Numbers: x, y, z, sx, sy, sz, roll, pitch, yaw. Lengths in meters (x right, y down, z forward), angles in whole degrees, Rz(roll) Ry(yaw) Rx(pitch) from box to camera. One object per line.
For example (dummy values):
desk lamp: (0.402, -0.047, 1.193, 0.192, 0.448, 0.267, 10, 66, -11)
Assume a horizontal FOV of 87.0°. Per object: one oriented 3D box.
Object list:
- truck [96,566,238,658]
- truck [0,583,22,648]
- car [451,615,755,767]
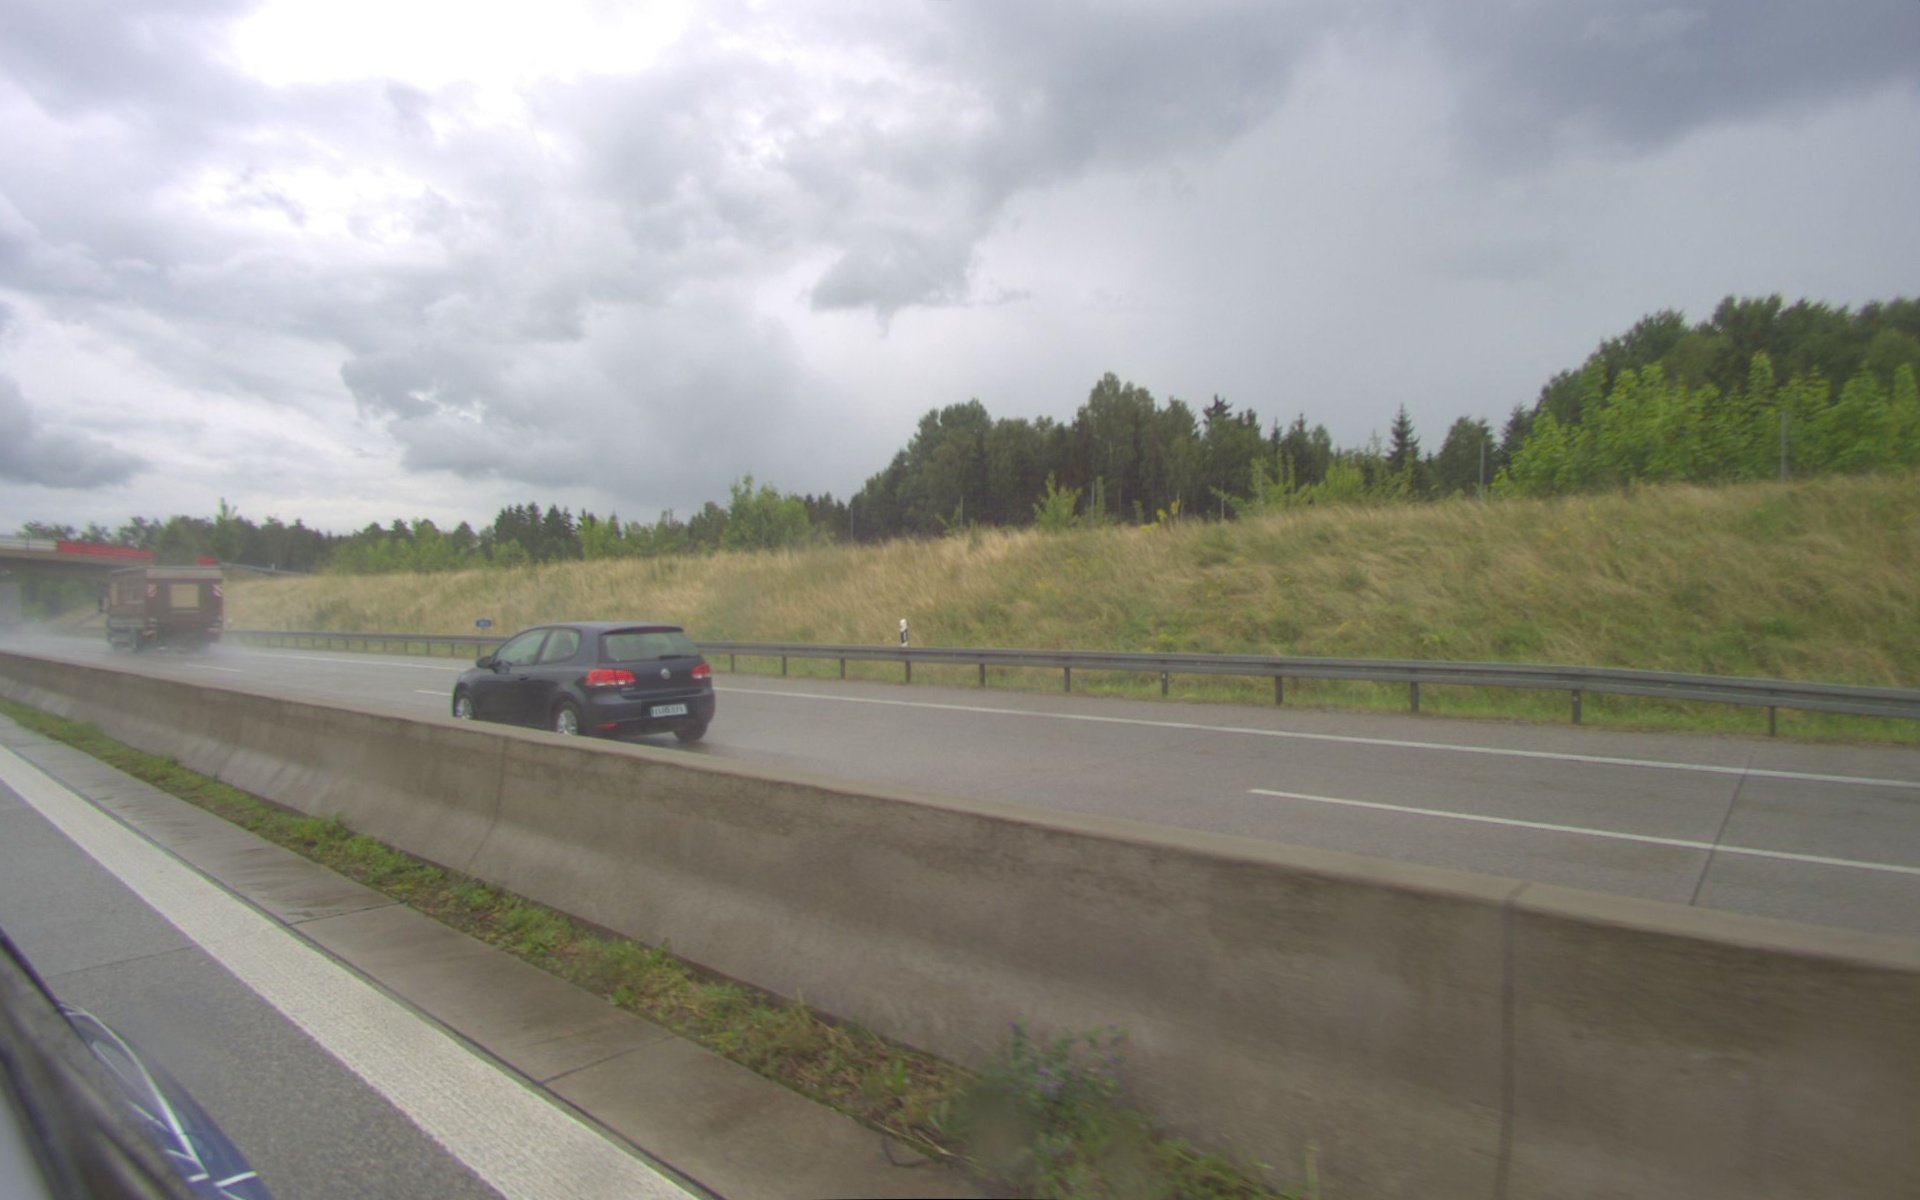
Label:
truck: (-33.796, 0.535, 42.992, 8.359, 3.560, 3.136, -1, -1, 40)
truck: (-69.269, 1.127, 72.088, 6.620, 4.555, 2.792, -1, 0, 40)
car: (-4.329, 0.971, 11.992, 3.998, 1.497, 1.643, -2, -3, 41)
